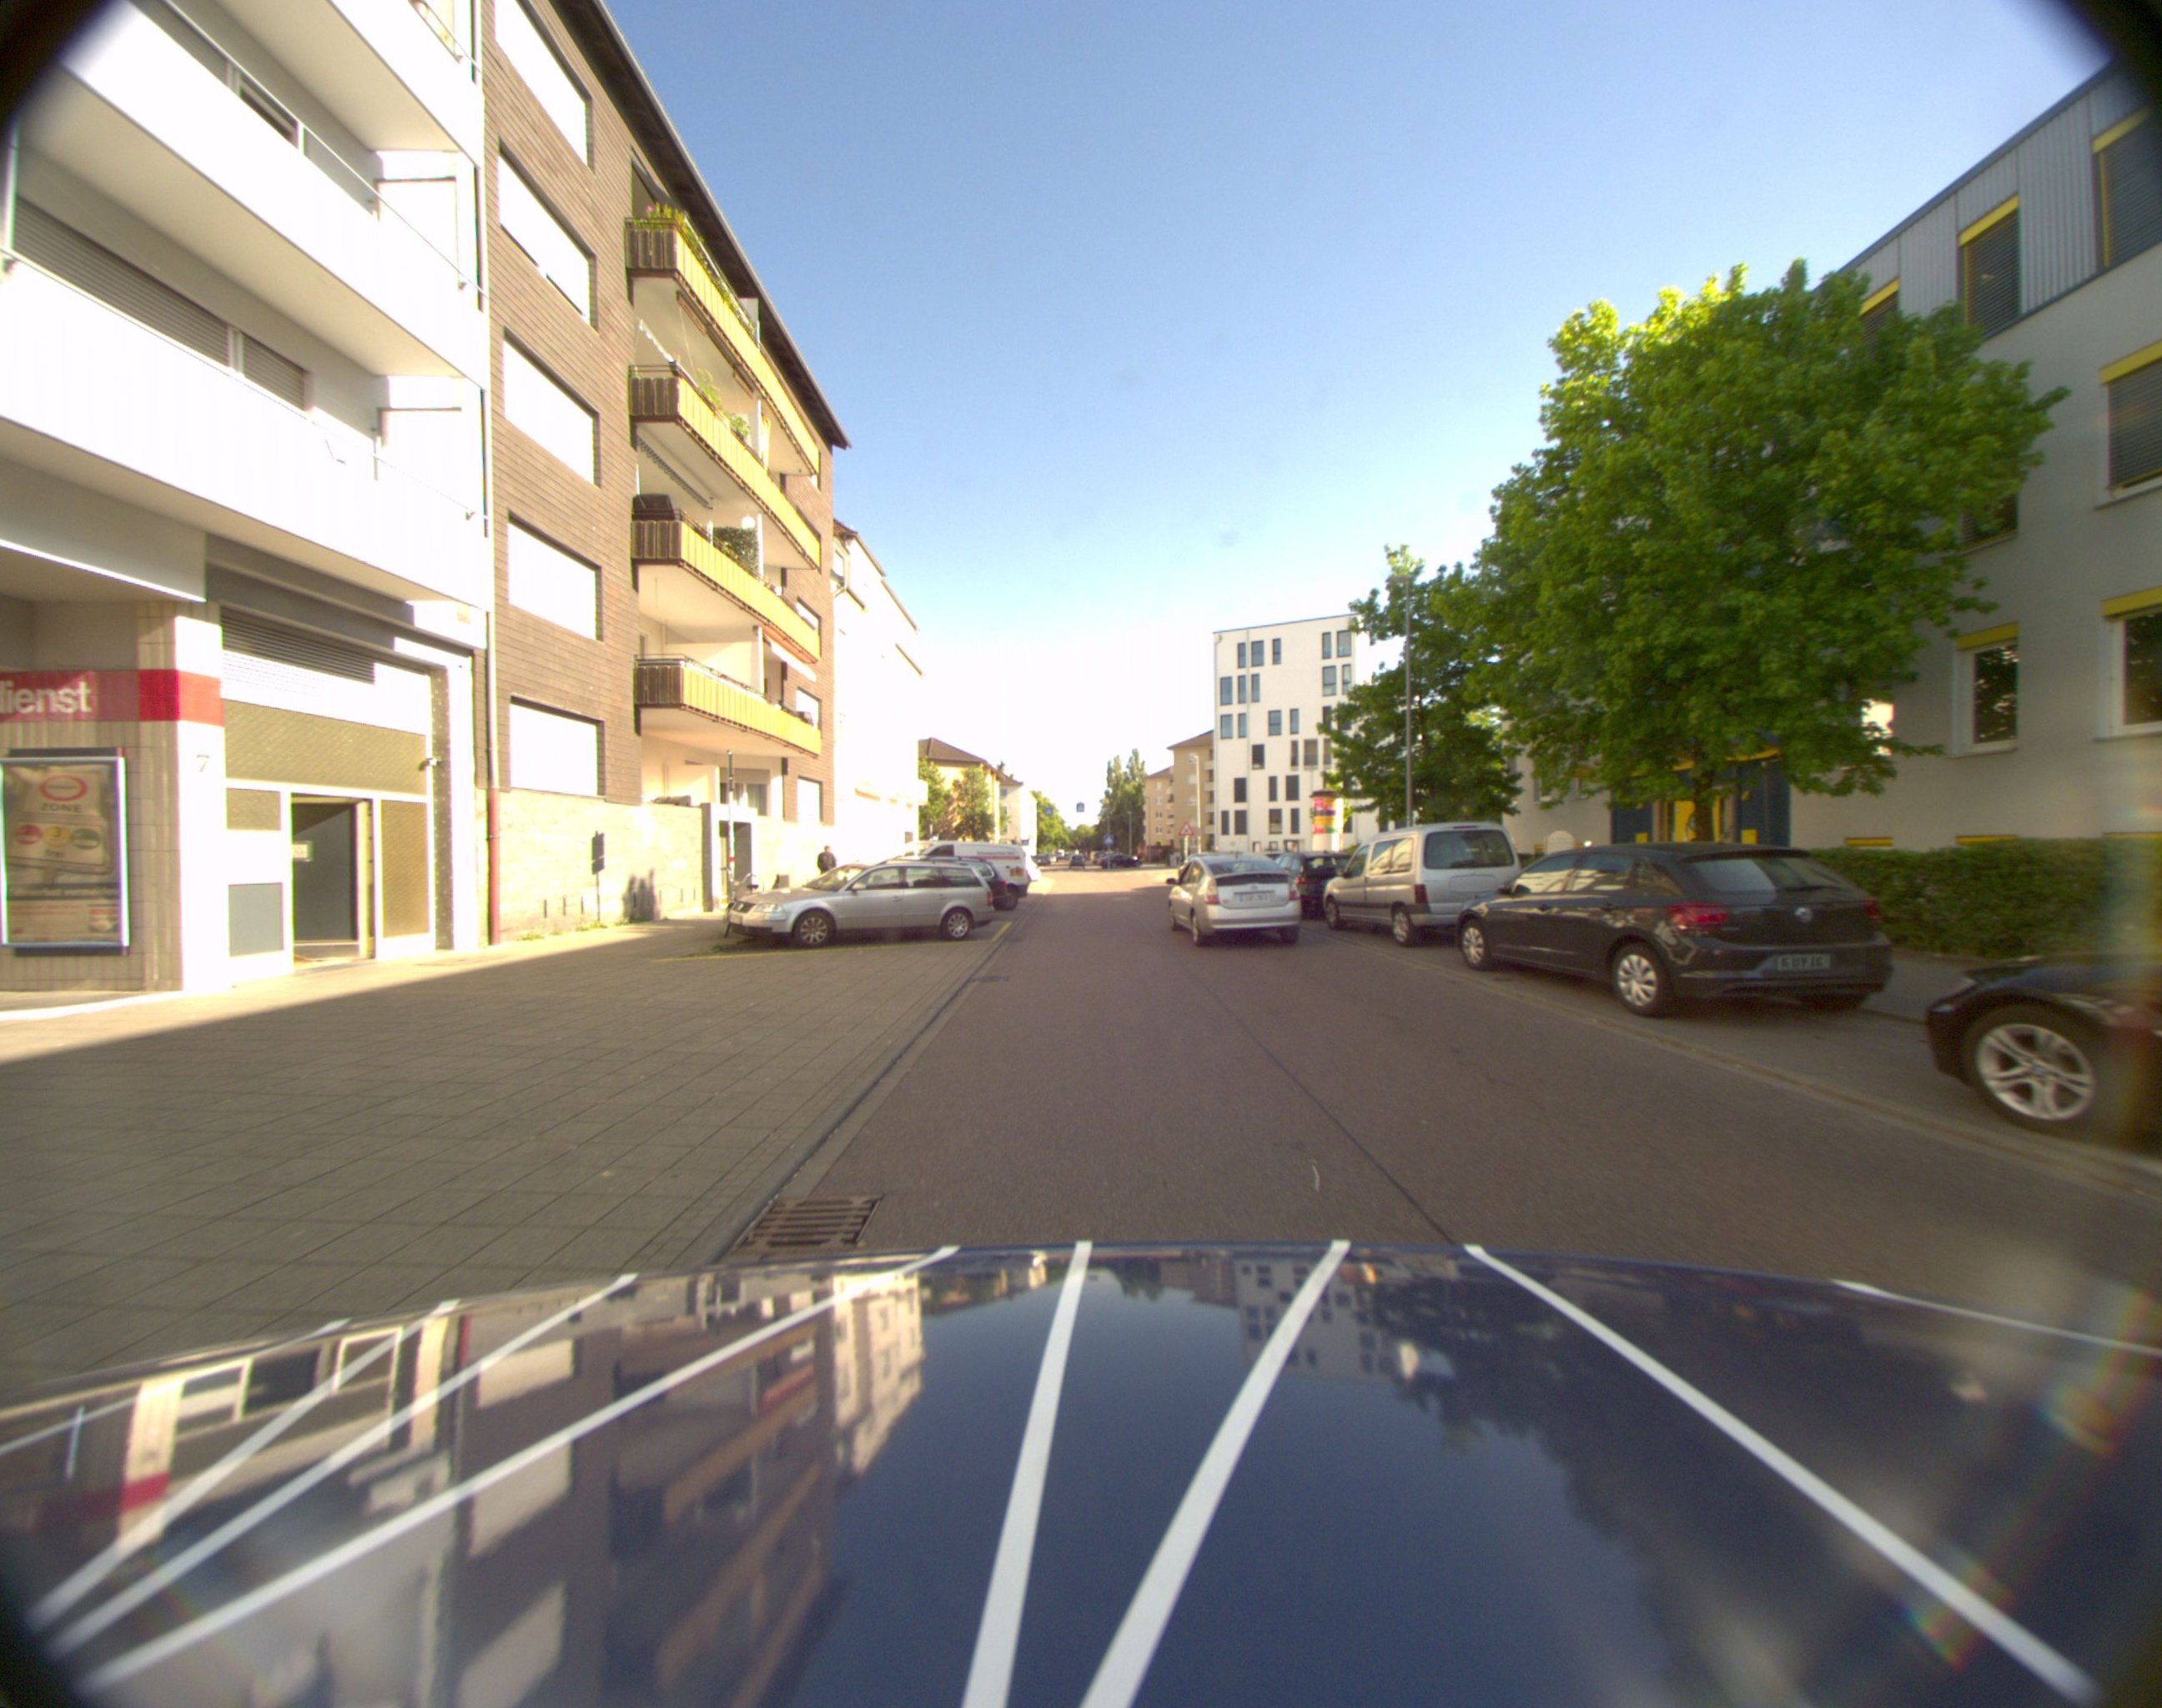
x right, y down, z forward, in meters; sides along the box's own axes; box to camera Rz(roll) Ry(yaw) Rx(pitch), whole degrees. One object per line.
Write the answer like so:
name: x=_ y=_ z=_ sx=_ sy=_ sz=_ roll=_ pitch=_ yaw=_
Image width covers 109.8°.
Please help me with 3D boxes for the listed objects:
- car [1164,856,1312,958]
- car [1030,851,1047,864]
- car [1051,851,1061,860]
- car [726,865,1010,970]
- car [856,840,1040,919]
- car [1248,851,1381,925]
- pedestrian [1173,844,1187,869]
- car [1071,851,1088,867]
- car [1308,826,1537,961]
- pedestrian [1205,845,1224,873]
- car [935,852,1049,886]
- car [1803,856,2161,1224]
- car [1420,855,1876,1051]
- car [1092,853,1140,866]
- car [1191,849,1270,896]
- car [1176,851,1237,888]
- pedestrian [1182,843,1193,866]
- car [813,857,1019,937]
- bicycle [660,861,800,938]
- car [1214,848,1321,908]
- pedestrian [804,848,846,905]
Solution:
car: x=2.608 y=0.811 z=13.618 sx=1.730 sy=1.477 sz=4.105 roll=-2 pitch=0 yaw=0
car: x=-5.354 y=0.429 z=95.327 sx=1.909 sy=1.506 sz=3.997 roll=0 pitch=0 yaw=-7
car: x=-5.013 y=0.271 z=153.177 sx=1.999 sy=1.685 sz=3.998 roll=-1 pitch=2 yaw=-2
car: x=-3.650 y=0.994 z=13.673 sx=4.656 sy=1.457 sz=1.686 roll=-1 pitch=2 yaw=-42
car: x=-3.588 y=0.647 z=20.997 sx=4.539 sy=1.887 sz=2.043 roll=1 pitch=2 yaw=-41
car: x=5.142 y=0.674 z=17.377 sx=1.737 sy=1.431 sz=4.611 roll=-1 pitch=0 yaw=2
pedestrian: x=8.453 y=0.202 z=65.108 sx=0.776 sy=2.108 sz=0.957 roll=-2 pitch=1 yaw=-21
car: x=-0.167 y=0.524 z=85.262 sx=1.841 sy=1.496 sz=4.135 roll=-1 pitch=3 yaw=0
car: x=5.354 y=0.543 z=12.616 sx=1.692 sy=1.828 sz=4.340 roll=-1 pitch=0 yaw=-2
pedestrian: x=8.297 y=0.306 z=47.262 sx=0.977 sy=1.704 sz=0.875 roll=0 pitch=1 yaw=22
car: x=-4.081 y=0.698 z=35.155 sx=4.883 sy=1.455 sz=1.968 roll=2 pitch=-1 yaw=-35
car: x=5.233 y=0.761 z=2.414 sx=1.730 sy=1.456 sz=4.439 roll=-1 pitch=0 yaw=1
car: x=5.268 y=0.757 z=7.841 sx=1.602 sy=1.432 sz=3.999 roll=-1 pitch=1 yaw=-2
car: x=3.643 y=0.564 z=78.334 sx=4.570 sy=1.160 sz=1.995 roll=-2 pitch=1 yaw=-29
car: x=5.324 y=0.601 z=27.616 sx=1.913 sy=1.470 sz=4.379 roll=-1 pitch=1 yaw=-2
car: x=5.268 y=0.604 z=32.377 sx=1.794 sy=1.402 sz=4.222 roll=-1 pitch=0 yaw=-2
pedestrian: x=8.719 y=0.018 z=62.209 sx=0.789 sy=1.875 sz=0.847 roll=0 pitch=3 yaw=15
car: x=-3.638 y=0.869 z=17.353 sx=4.336 sy=1.504 sz=1.751 roll=-1 pitch=2 yaw=-45
bicycle: x=-6.107 y=0.748 z=13.387 sx=0.704 sy=1.246 sz=2.266 roll=-1 pitch=-1 yaw=28
car: x=5.418 y=0.623 z=22.716 sx=1.913 sy=1.521 sz=4.623 roll=-1 pitch=1 yaw=-2
pedestrian: x=-7.221 y=0.617 z=21.494 sx=0.834 sy=1.584 sz=0.889 roll=0 pitch=1 yaw=5
